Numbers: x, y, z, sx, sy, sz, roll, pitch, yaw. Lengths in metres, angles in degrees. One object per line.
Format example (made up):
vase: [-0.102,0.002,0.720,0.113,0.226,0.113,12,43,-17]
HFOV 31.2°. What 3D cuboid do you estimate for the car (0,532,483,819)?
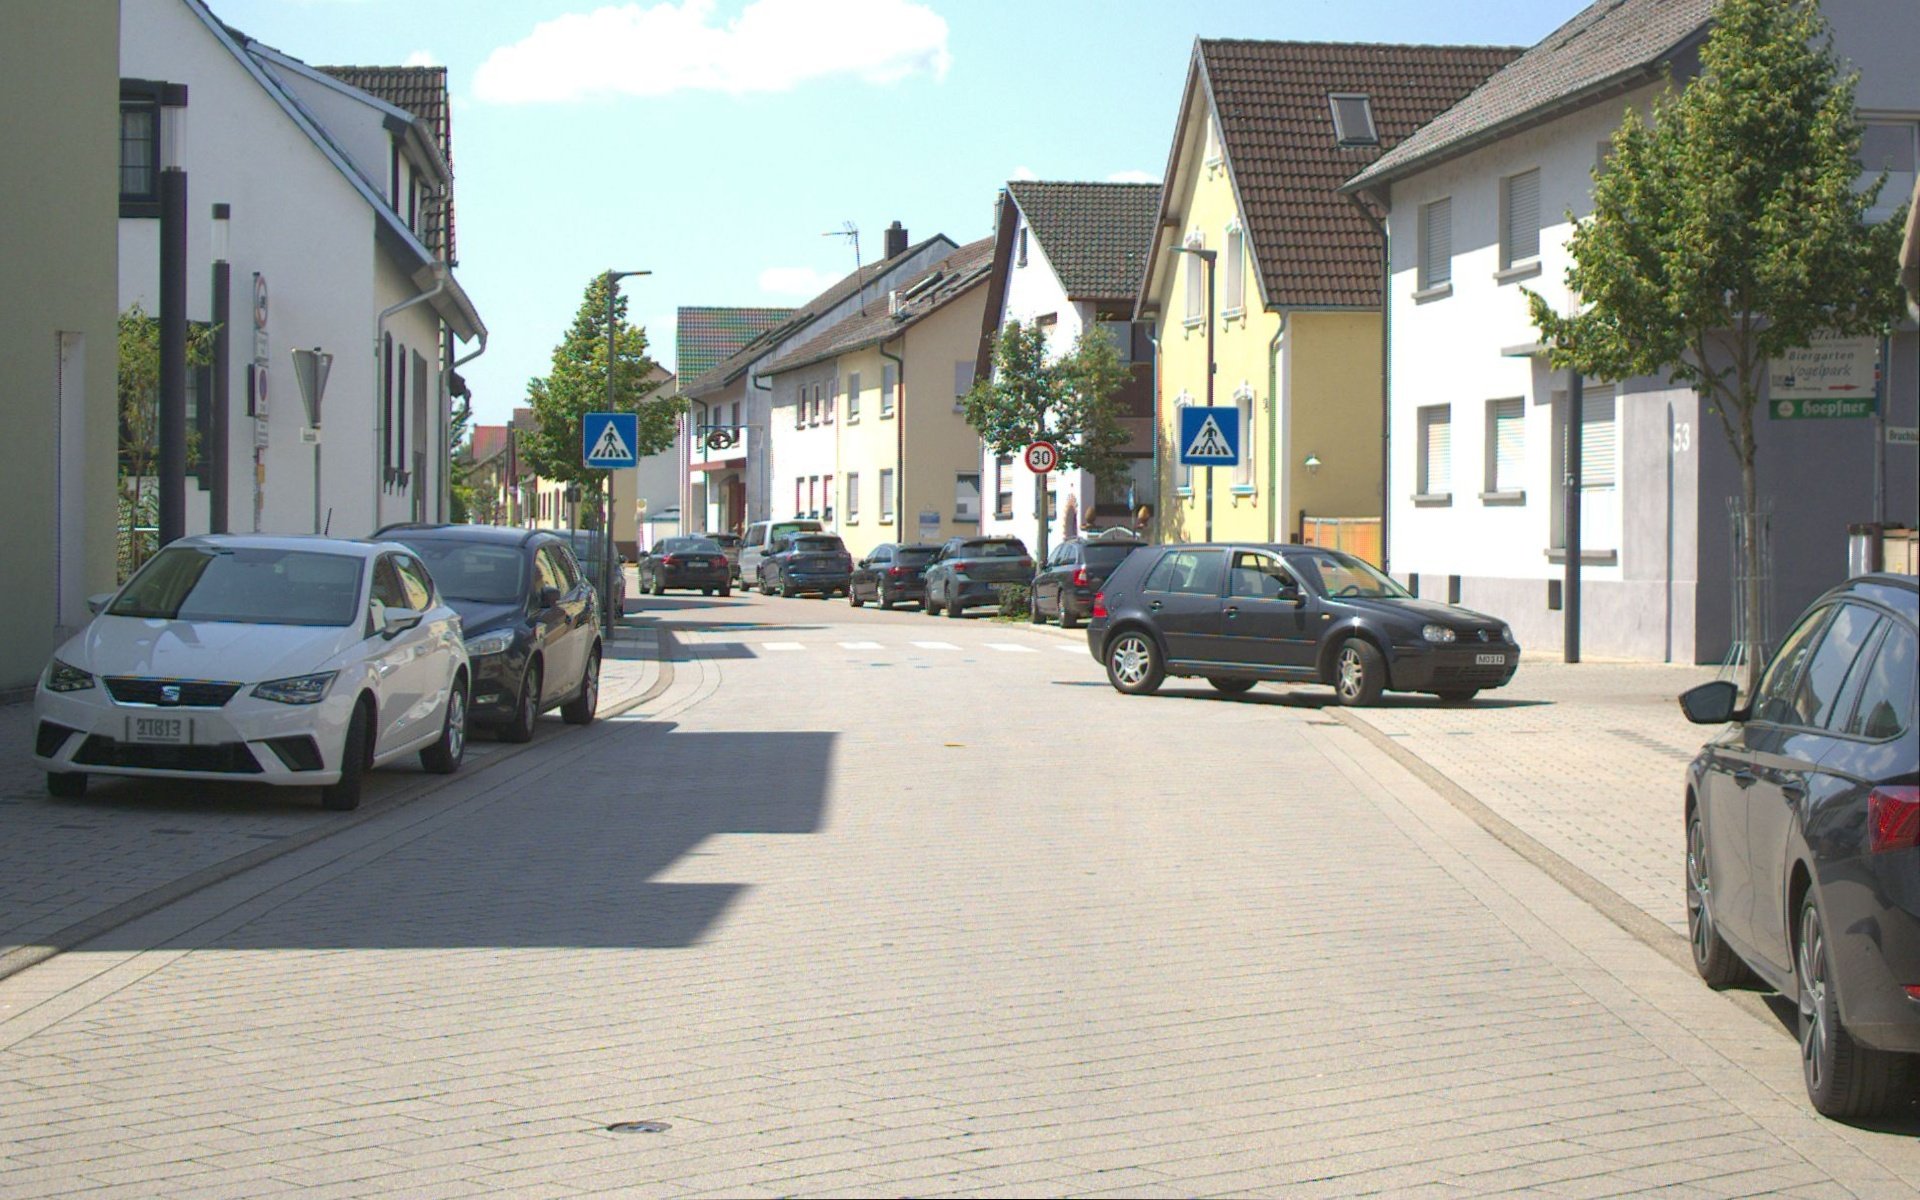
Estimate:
car: [-4.007,0.353,19.775,1.758,1.406,3.877,3,1,3]

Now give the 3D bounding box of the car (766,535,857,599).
car: [-3.821,-0.866,87.916,1.877,1.586,4.001,0,1,-9]

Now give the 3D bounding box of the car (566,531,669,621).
car: [-6.230,-0.462,62.303,1.747,1.525,4.001,2,1,-6]

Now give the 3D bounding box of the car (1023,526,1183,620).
car: [2.347,-0.462,57.496,1.828,1.466,4.277,-2,1,-9]

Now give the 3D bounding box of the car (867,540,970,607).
car: [-0.923,-0.595,74.533,1.710,1.382,3.707,0,1,-9]

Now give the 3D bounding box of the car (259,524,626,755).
car: [-3.706,0.219,25.358,1.813,1.485,4.277,2,1,3]

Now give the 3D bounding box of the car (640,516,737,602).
car: [-6.695,-1.038,84.442,1.993,2.051,4.375,0,1,-10]

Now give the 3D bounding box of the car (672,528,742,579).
car: [-7.571,-1.400,102.687,1.754,1.487,4.001,0,1,-9]

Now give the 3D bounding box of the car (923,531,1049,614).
car: [0.467,-0.548,66.850,1.846,1.557,3.694,0,1,-9]

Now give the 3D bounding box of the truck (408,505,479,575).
truck: [-30.161,-3.521,200.529,3.563,3.940,8.584,0,1,-12]

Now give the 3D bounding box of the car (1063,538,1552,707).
car: [3.128,0.173,31.318,4.114,1.433,1.761,0,1,37]

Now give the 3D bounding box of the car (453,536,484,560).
car: [-30.527,-3.214,213.628,1.687,1.447,3.794,0,1,-12]

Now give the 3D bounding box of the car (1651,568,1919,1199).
car: [3.281,0.651,10.364,1.858,1.454,4.585,-1,1,5]
